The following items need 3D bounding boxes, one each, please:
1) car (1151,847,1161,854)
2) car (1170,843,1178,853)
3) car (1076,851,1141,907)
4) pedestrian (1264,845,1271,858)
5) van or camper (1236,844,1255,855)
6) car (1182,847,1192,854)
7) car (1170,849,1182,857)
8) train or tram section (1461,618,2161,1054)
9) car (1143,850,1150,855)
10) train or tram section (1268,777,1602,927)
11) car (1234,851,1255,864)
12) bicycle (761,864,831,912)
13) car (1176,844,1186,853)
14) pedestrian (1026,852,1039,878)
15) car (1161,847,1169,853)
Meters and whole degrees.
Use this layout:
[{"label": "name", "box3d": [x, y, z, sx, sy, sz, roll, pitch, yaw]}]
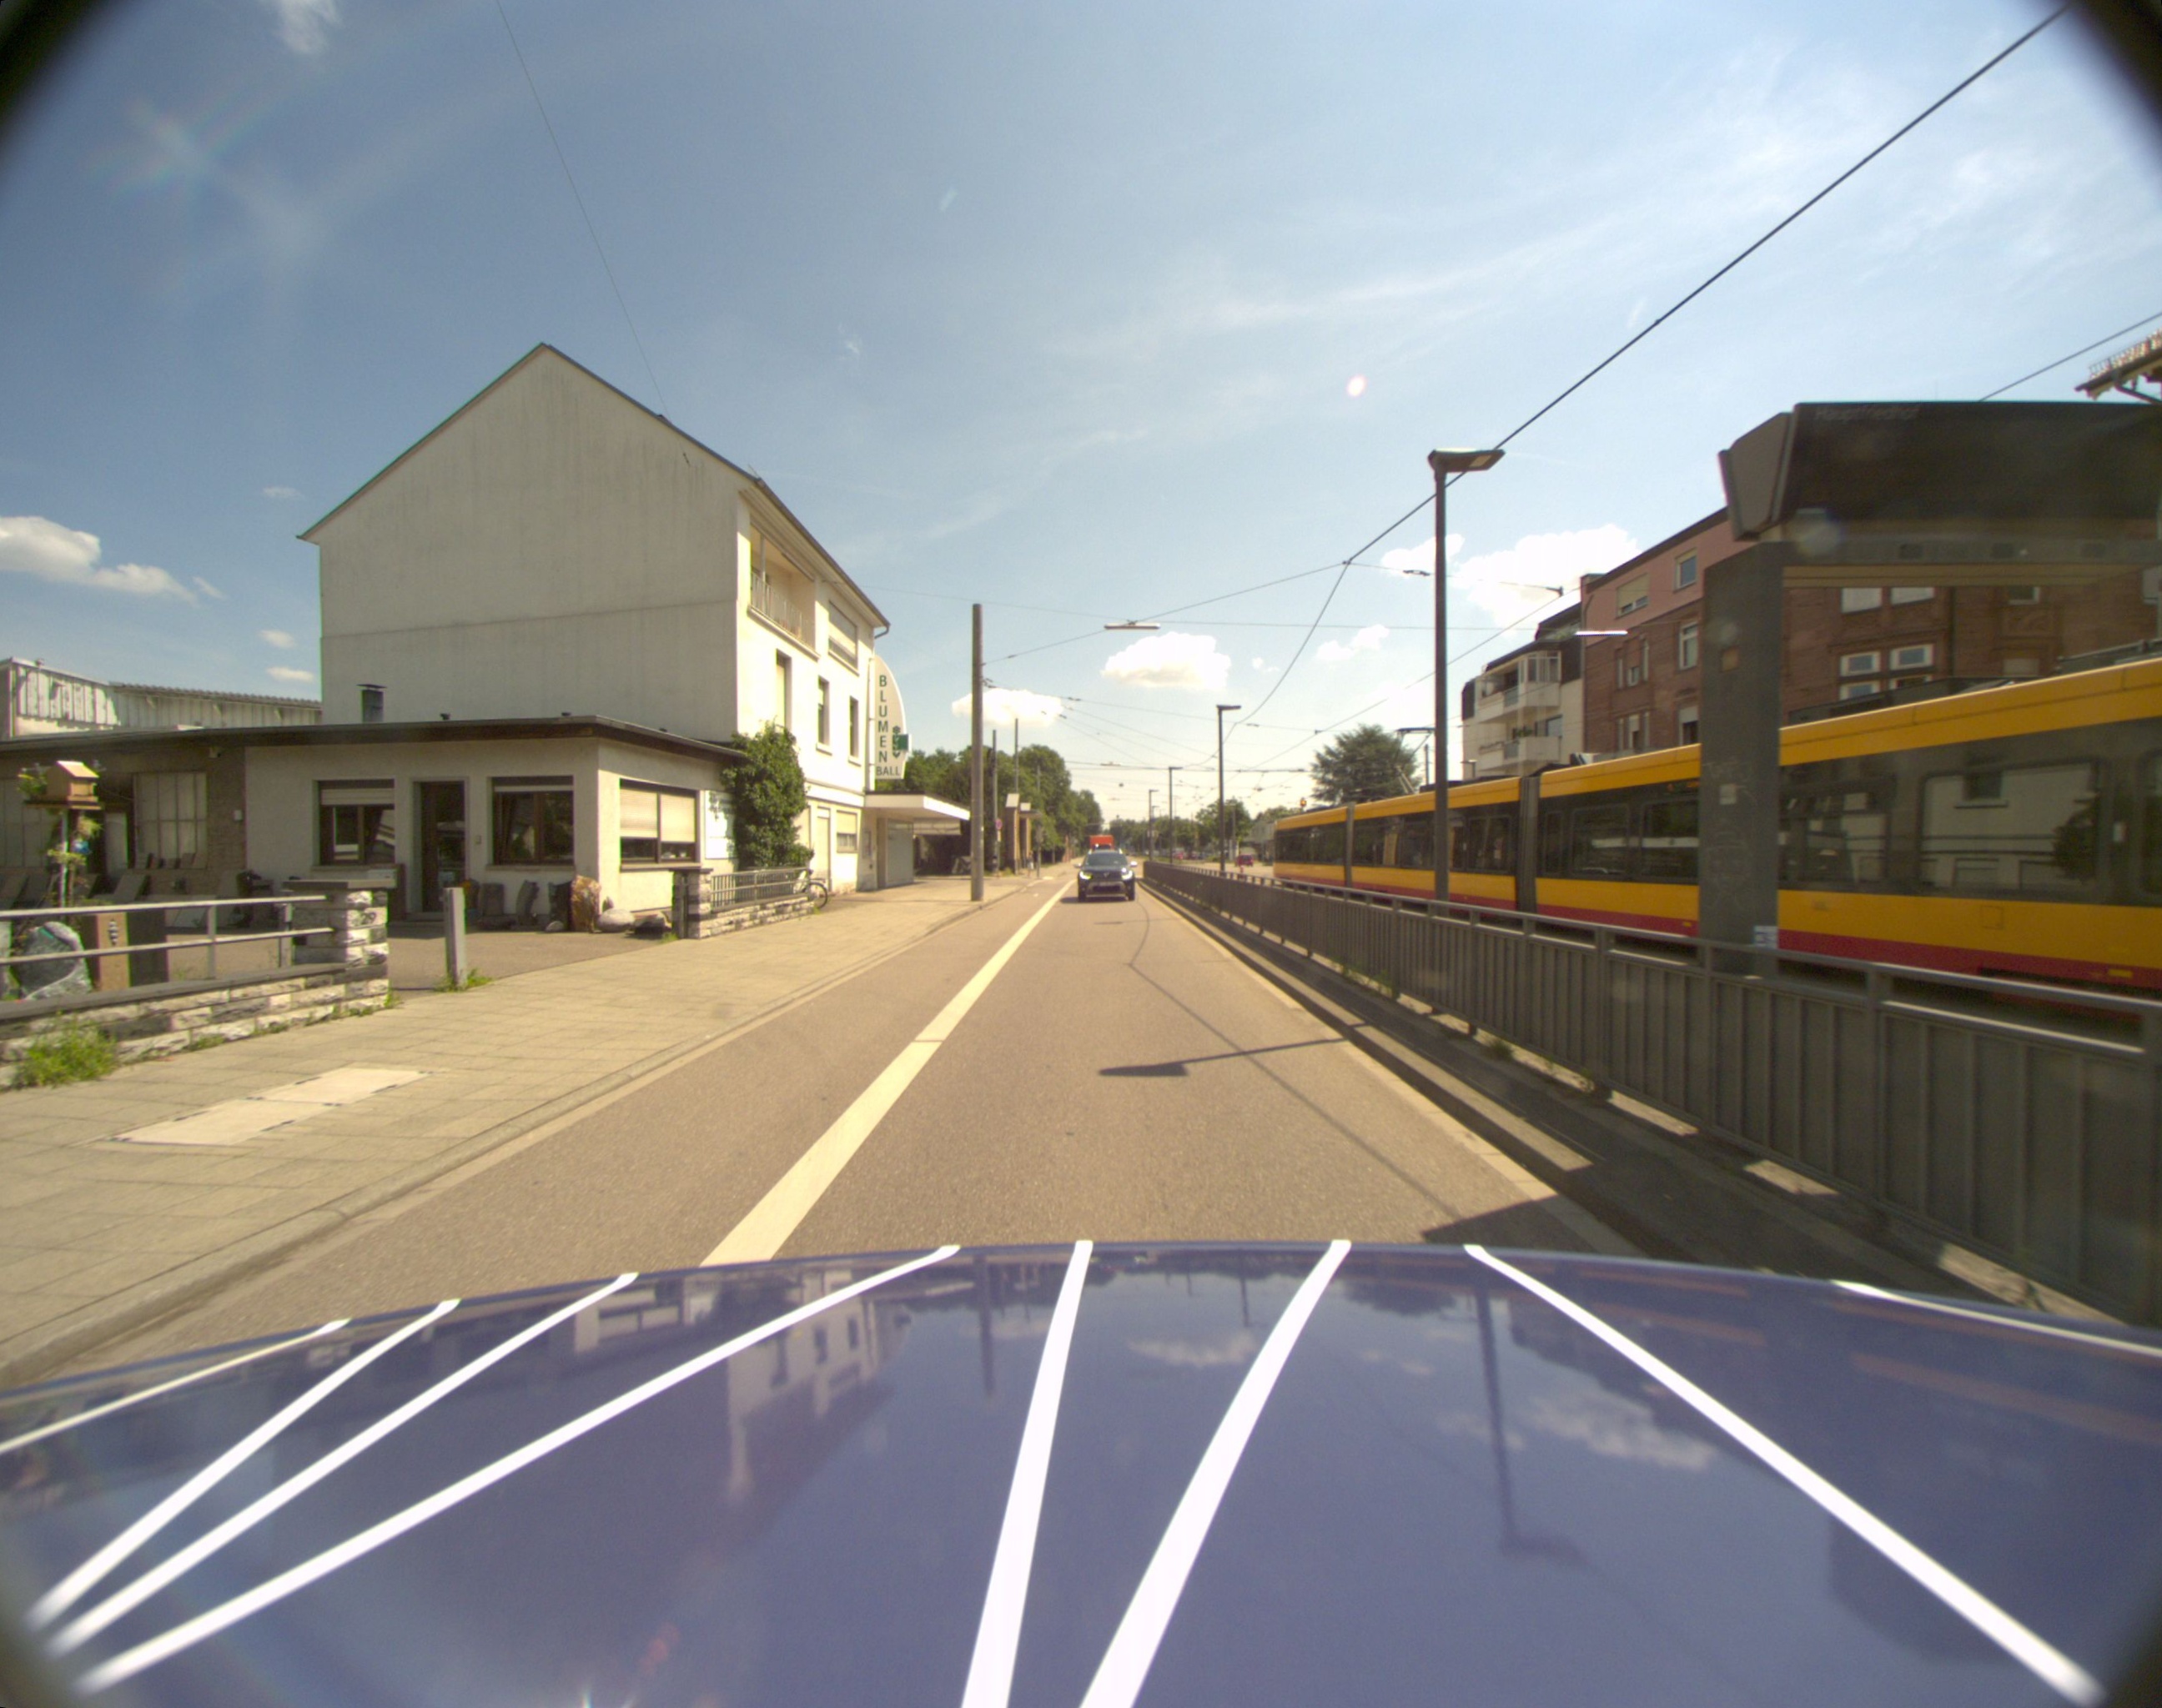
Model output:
[{"label": "car", "box3d": [20.277, -0.816, 205.437, 1.863, 1.865, 4.554, 0, 0, -2]}, {"label": "car", "box3d": [24.409, -1.566, 199.893, 1.744, 2.573, 4.000, 0, 1, 0]}, {"label": "car", "box3d": [0.816, 0.730, 23.989, 1.846, 1.564, 4.487, -1, 0, 1]}, {"label": "pedestrian", "box3d": [25.913, -0.403, 105.687, 0.488, 1.765, 0.682, -5, 3, -18]}, {"label": "van or camper", "box3d": [49.084, -1.377, 226.928, 5.157, 3.099, 2.247, 0, 1, 1]}, {"label": "car", "box3d": [24.037, -0.874, 172.808, 1.744, 1.587, 4.000, 0, 0, 0]}, {"label": "car", "box3d": [18.297, -0.240, 146.552, 1.998, 1.441, 4.821, 1, 1, 2]}, {"label": "train or tram section", "box3d": [10.490, -0.193, 9.821, 3.243, 3.547, 16.347, 0, 1, 1]}, {"label": "car", "box3d": [21.319, -0.405, 247.535, 1.744, 1.587, 4.000, 0, 0, 0]}, {"label": "train or tram section", "box3d": [10.891, -0.190, 28.262, 3.258, 3.547, 20.499, 0, 1, 1]}, {"label": "car", "box3d": [18.876, 0.383, 87.648, 1.659, 1.436, 3.853, 1, 1, 2]}, {"label": "bicycle", "box3d": [-6.886, 0.818, 18.373, 1.535, 1.080, 0.429, 2, 1, 7]}, {"label": "car", "box3d": [24.328, -1.335, 184.738, 1.966, 1.953, 4.000, 0, 0, 0]}, {"label": "pedestrian", "box3d": [-3.176, 0.724, 50.027, 0.563, 1.656, 0.683, 1, 1, 24]}, {"label": "car", "box3d": [24.471, -1.077, 221.913, 1.744, 1.683, 4.000, 0, 0, 0]}]
